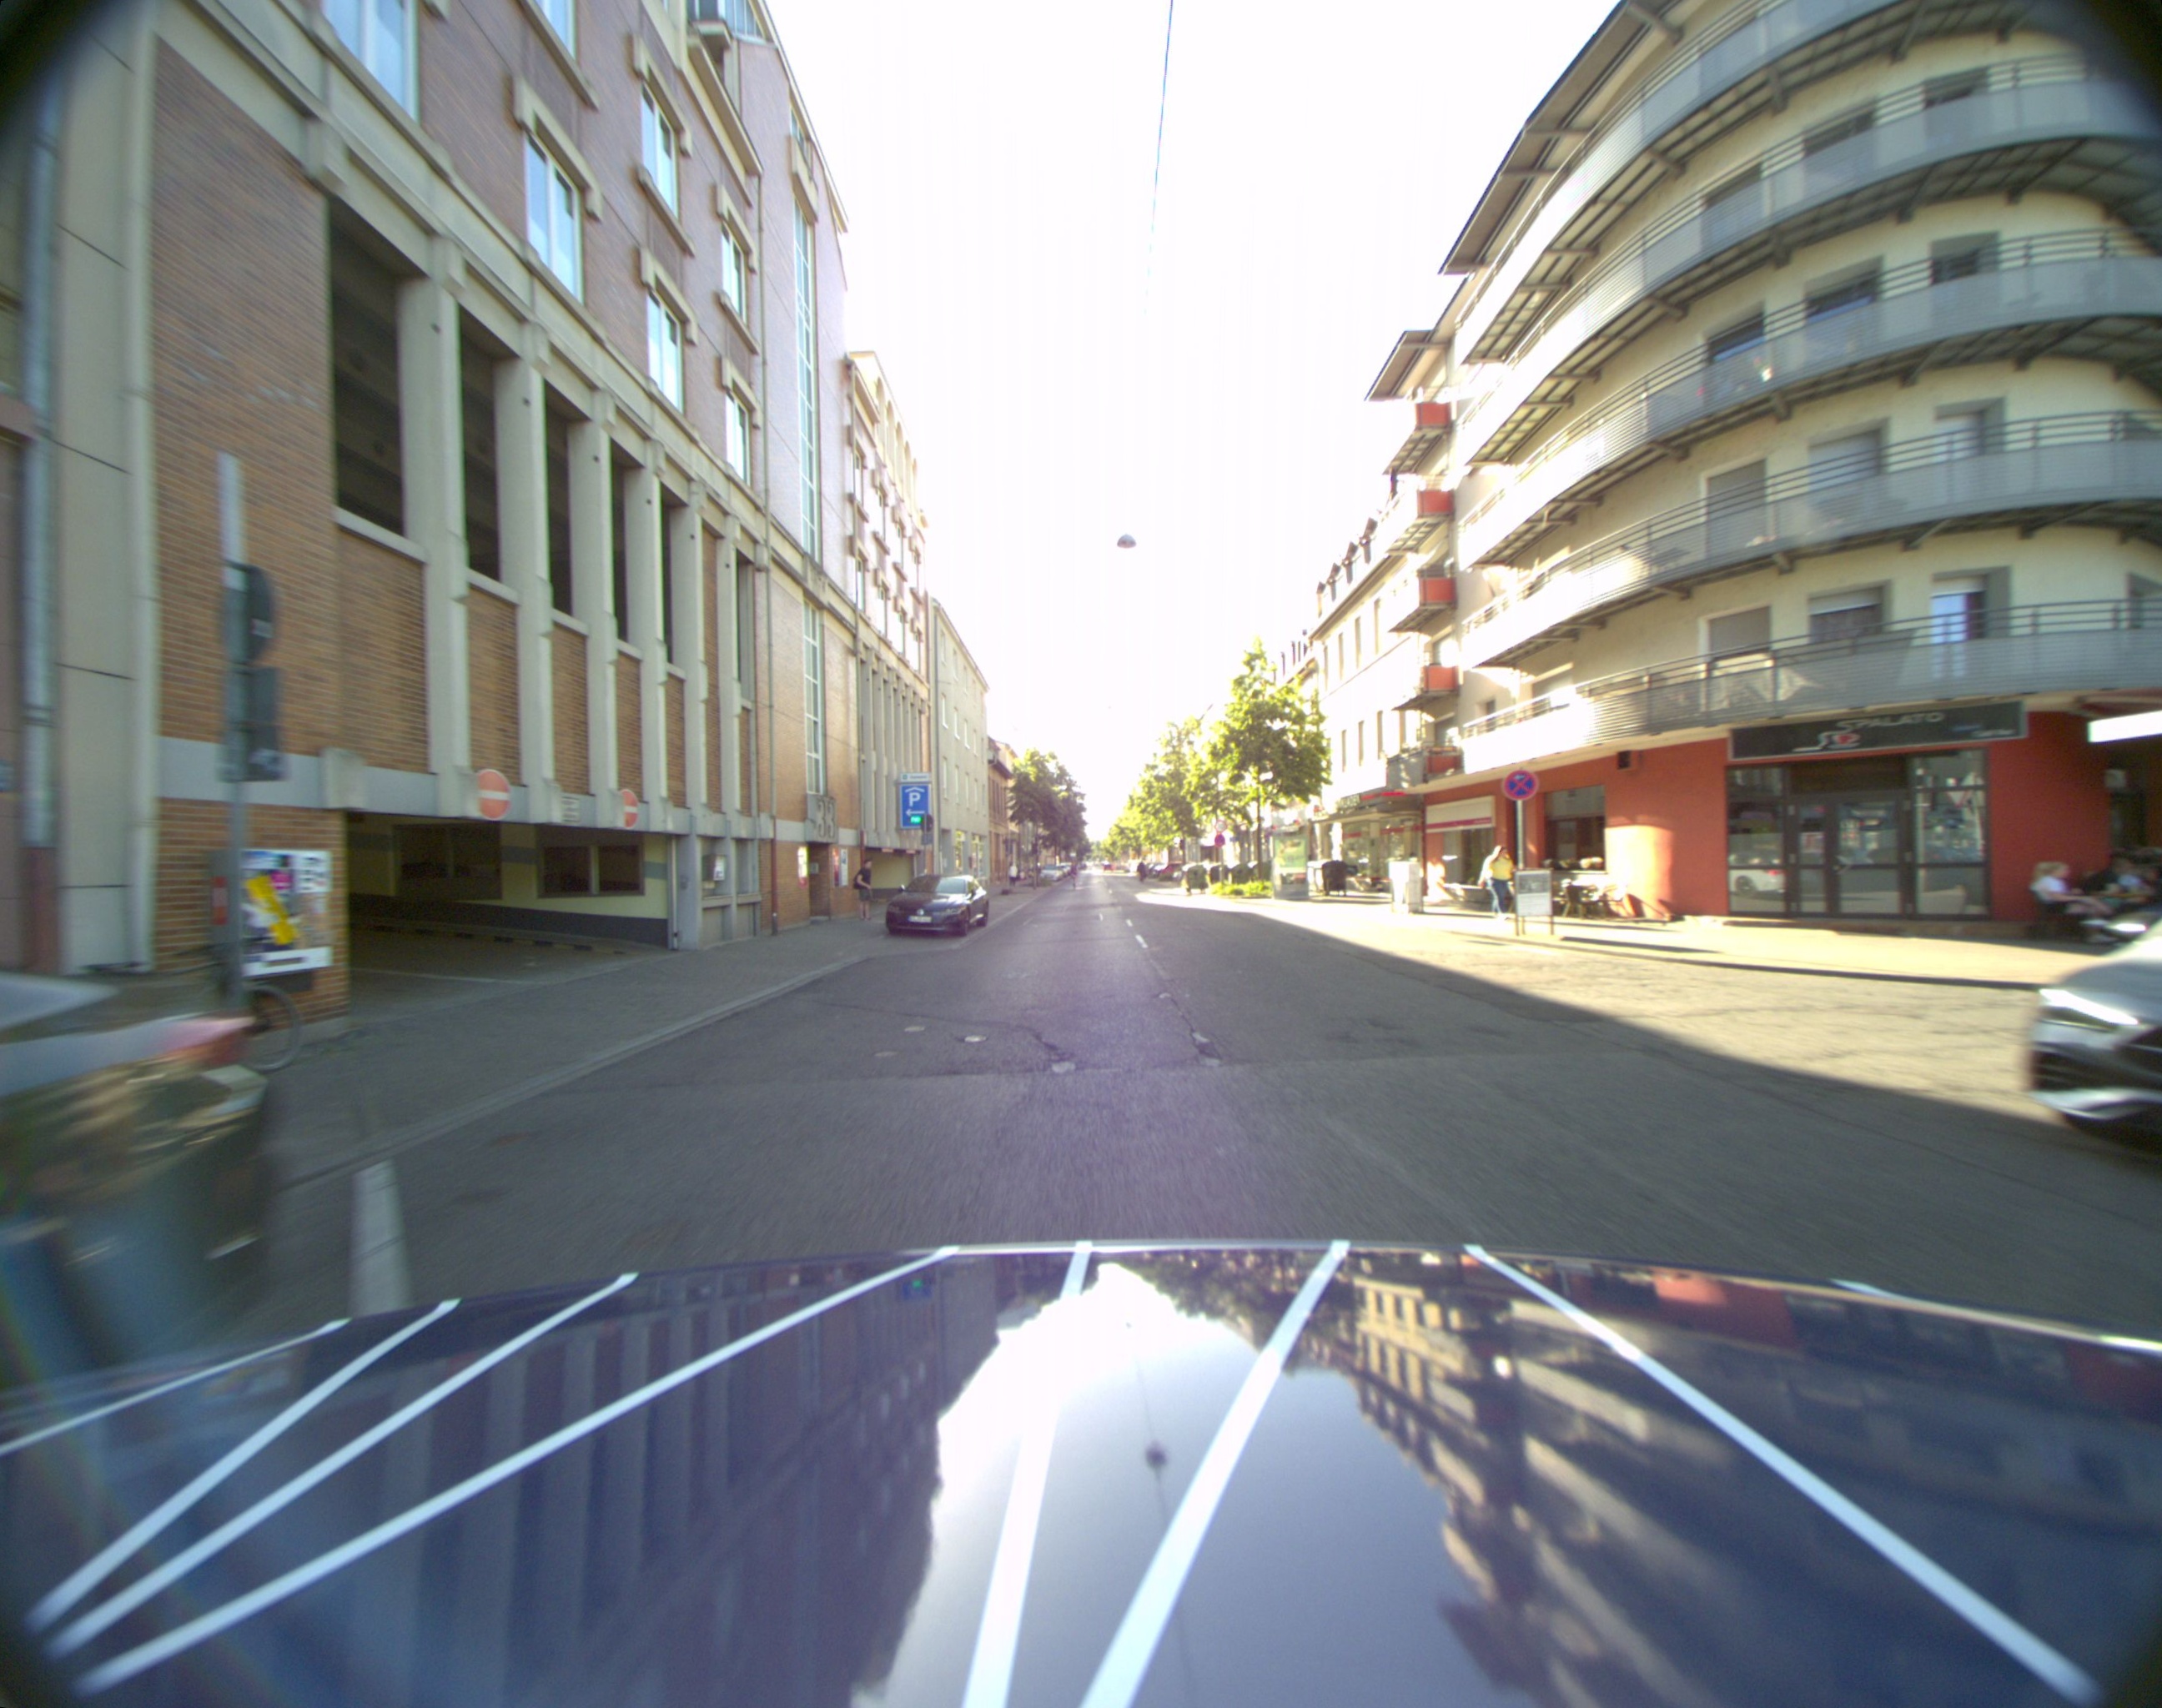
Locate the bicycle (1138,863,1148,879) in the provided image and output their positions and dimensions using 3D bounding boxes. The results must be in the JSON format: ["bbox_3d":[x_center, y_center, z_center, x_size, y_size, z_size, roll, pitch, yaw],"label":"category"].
[{"bbox_3d":[4.718,1.269,57.711,0.707,1.140,1.968,-1,0,3],"label":"bicycle"}]

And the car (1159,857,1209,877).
[{"bbox_3d":[8.233,1.011,60.879,3.757,1.459,1.740,-2,0,1],"label":"car"}]

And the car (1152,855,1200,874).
[{"bbox_3d":[8.199,0.897,65.921,3.928,1.477,1.771,-2,0,2],"label":"car"}]

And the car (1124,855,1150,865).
[{"bbox_3d":[8.753,0.948,119.226,3.788,1.455,1.710,-2,0,-2],"label":"car"}]

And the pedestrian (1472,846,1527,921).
[{"bbox_3d":[9.556,0.652,17.381,0.666,1.649,1.036,-1,0,0],"label":"pedestrian"}]

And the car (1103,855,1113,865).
[{"bbox_3d":[4.776,1.049,135.562,1.662,1.526,3.760,-3,0,1],"label":"car"}]

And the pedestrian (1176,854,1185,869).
[{"bbox_3d":[12.128,0.857,92.482,0.776,1.756,0.763,-6,1,-1],"label":"pedestrian"}]

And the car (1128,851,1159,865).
[{"bbox_3d":[8.715,0.561,105.978,4.115,1.825,2.039,-2,0,1],"label":"car"}]

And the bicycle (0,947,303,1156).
[{"bbox_3d":[-6.635,1.288,5.401,0.359,1.038,1.791,1,0,1],"label":"bicycle"}]

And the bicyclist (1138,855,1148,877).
[{"bbox_3d":[4.711,0.877,57.718,0.698,1.643,1.036,-1,0,3],"label":"bicyclist"}]

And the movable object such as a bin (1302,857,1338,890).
[{"bbox_3d":[9.962,0.792,31.698,1.044,1.337,1.314,-1,0,0],"label":"movable object such as a bin"}]

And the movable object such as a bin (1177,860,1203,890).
[{"bbox_3d":[5.517,1.041,38.539,1.044,1.463,1.452,-1,0,0],"label":"movable object such as a bin"}]

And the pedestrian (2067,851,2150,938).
[{"bbox_3d":[16.338,0.622,12.090,0.576,1.332,0.698,-1,0,-28],"label":"pedestrian"}]

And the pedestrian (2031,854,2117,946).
[{"bbox_3d":[15.017,0.672,11.496,0.576,1.332,0.698,-1,0,-28],"label":"pedestrian"}]

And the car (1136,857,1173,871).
[{"bbox_3d":[9.110,1.279,94.340,4.377,1.561,1.980,-2,0,1],"label":"car"}]

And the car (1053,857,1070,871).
[{"bbox_3d":[-2.246,1.161,87.944,1.887,1.518,4.234,1,0,0],"label":"car"}]

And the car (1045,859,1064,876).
[{"bbox_3d":[-2.410,1.203,69.387,1.618,1.520,3.060,1,0,0],"label":"car"}]

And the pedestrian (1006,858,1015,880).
[{"bbox_3d":[-5.530,1.175,59.646,0.624,1.755,0.771,1,1,2],"label":"pedestrian"}]

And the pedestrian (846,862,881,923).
[{"bbox_3d":[-6.011,1.054,21.037,0.693,1.626,0.889,1,0,0],"label":"pedestrian"}]

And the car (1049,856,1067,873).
[{"bbox_3d":[-2.231,1.014,74.884,1.618,1.520,4.234,2,0,0],"label":"car"}]

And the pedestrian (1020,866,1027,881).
[{"bbox_3d":[-4.053,1.401,53.780,0.394,1.027,0.739,2,1,0],"label":"pedestrian"}]

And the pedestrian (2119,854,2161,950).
[{"bbox_3d":[15.317,0.667,10.729,0.576,1.332,0.698,-1,0,-28],"label":"pedestrian"}]

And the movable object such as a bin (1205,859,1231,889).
[{"bbox_3d":[6.893,1.015,38.296,1.044,1.463,1.143,-1,0,0],"label":"movable object such as a bin"}]

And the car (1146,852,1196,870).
[{"bbox_3d":[8.564,0.679,72.460,4.504,1.450,1.790,-3,0,-1],"label":"car"}]

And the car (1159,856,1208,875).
[{"bbox_3d":[8.505,0.929,63.443,3.850,1.420,1.790,-2,0,2],"label":"car"}]

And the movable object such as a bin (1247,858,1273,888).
[{"bbox_3d":[9.047,0.958,38.460,1.044,1.463,1.143,-1,0,0],"label":"movable object such as a bin"}]

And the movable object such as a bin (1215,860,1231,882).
[{"bbox_3d":[8.495,1.017,45.523,0.756,1.333,0.805,-1,0,0],"label":"movable object such as a bin"}]

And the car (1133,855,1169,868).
[{"bbox_3d":[8.916,0.956,97.290,4.377,1.561,1.946,-2,0,1],"label":"car"}]

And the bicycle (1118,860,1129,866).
[{"bbox_3d":[8.399,1.776,150.130,2.006,1.023,0.473,-3,1,-12],"label":"bicycle"}]

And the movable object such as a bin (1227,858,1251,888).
[{"bbox_3d":[7.992,0.953,38.460,0.966,1.463,1.143,-1,1,0],"label":"movable object such as a bin"}]

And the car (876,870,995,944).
[{"bbox_3d":[-3.505,1.219,19.326,1.922,1.470,4.965,2,0,1],"label":"car"}]

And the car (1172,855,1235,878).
[{"bbox_3d":[8.586,0.897,53.543,4.212,1.459,1.740,-2,0,3],"label":"car"}]

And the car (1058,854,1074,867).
[{"bbox_3d":[-1.942,0.890,101.626,1.998,1.680,4.516,2,0,0],"label":"car"}]

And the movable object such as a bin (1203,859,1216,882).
[{"bbox_3d":[7.669,0.981,45.485,0.636,1.333,0.805,-1,0,0],"label":"movable object such as a bin"}]

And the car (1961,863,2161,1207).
[{"bbox_3d":[7.019,0.762,3.727,5.123,1.414,1.996,0,0,-22],"label":"car"}]

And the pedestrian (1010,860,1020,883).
[{"bbox_3d":[-4.661,1.227,53.753,0.582,1.550,1.020,2,1,0],"label":"pedestrian"}]

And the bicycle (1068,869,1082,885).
[{"bbox_3d":[-0.360,1.432,48.187,0.805,0.958,1.996,-2,-1,0],"label":"bicycle"}]

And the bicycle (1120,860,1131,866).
[{"bbox_3d":[8.657,1.745,148.678,2.006,1.023,0.473,-3,1,-12],"label":"bicycle"}]

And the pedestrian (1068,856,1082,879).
[{"bbox_3d":[-0.378,0.849,48.198,0.803,1.381,0.931,-2,0,0],"label":"pedestrian"}]

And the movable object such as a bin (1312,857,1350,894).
[{"bbox_3d":[9.909,0.832,30.172,1.044,1.396,1.314,-1,0,0],"label":"movable object such as a bin"}]

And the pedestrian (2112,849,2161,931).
[{"bbox_3d":[17.957,0.592,12.755,0.576,1.332,0.698,-1,0,-28],"label":"pedestrian"}]
